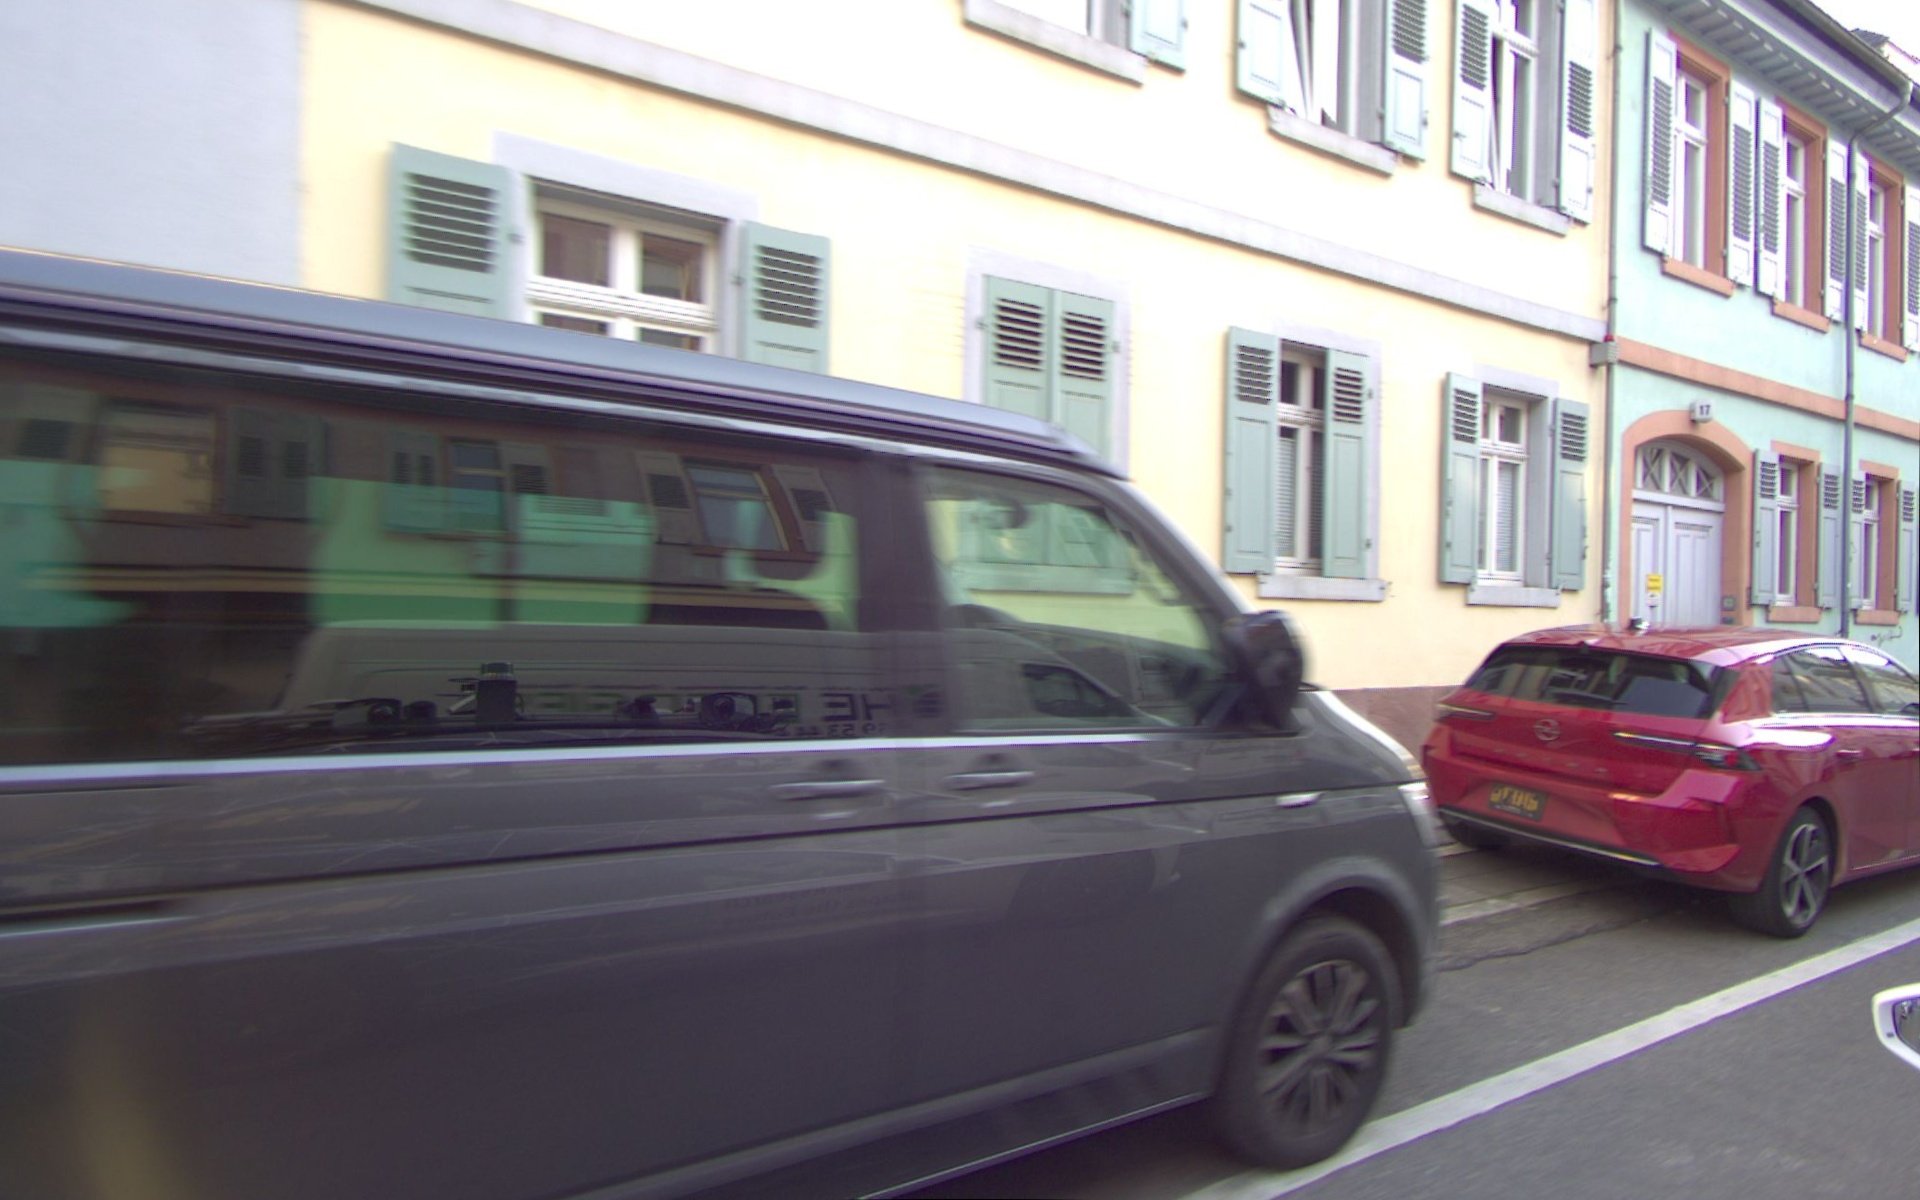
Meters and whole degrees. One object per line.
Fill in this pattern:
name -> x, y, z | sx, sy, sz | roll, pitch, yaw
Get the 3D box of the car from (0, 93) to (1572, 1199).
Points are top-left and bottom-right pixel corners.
car -> -0.564, 0.420, 2.724 | 4.759, 2.040, 1.853 | 1, -1, -32

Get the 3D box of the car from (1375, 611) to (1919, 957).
car -> 4.636, 0.828, 6.031 | 4.212, 1.420, 1.757 | 1, 0, -30
